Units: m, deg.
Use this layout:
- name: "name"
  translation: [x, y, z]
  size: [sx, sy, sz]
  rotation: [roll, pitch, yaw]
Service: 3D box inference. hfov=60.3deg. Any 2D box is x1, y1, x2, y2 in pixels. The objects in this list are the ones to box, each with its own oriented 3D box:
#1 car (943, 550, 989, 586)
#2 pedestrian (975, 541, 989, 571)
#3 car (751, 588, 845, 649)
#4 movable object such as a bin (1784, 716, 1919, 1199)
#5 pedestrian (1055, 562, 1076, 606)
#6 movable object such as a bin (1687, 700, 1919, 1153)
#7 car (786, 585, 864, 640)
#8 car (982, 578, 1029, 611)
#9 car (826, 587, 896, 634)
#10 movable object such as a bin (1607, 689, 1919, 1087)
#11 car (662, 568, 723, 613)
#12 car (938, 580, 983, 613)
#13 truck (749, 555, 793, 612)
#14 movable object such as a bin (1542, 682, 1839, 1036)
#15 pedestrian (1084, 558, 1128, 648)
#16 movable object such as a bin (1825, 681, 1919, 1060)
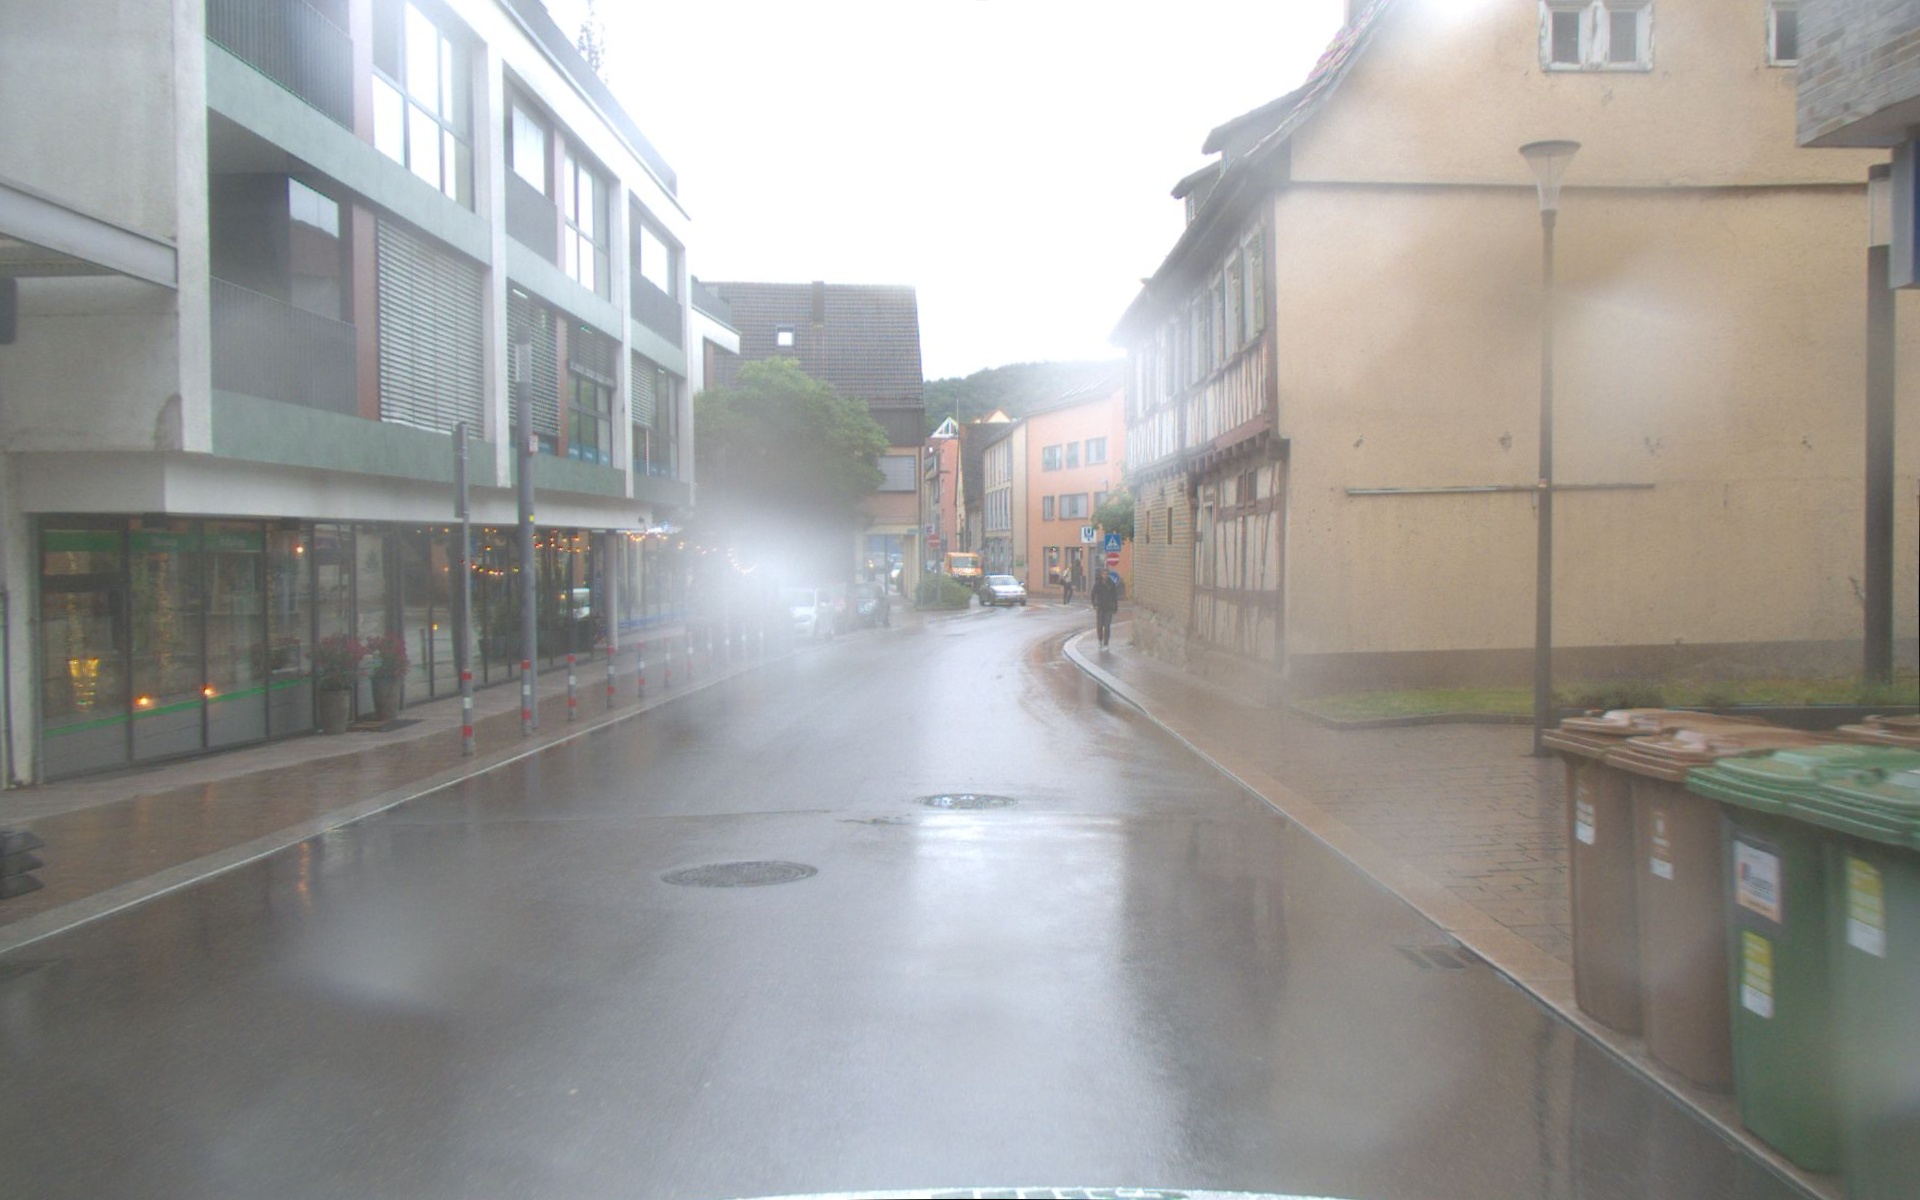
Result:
- name: "car"
  translation: [0.347, -2.004, 104.715]
  size: [2.065, 2.183, 4.857]
  rotation: [-3, 1, -9]
- name: "pedestrian"
  translation: [1.537, -3.098, 116.508]
  size: [0.850, 2.048, 0.706]
  rotation: [-1, 1, -8]
- name: "car"
  translation: [-4.341, 0.458, 44.870]
  size: [1.749, 1.525, 4.457]
  rotation: [-1, 0, 4]
- name: "movable object such as a bin"
  translation: [2.504, 0.857, 3.957]
  size: [0.750, 1.114, 0.581]
  rotation: [-2, 0, 0]
- name: "pedestrian"
  translation: [4.743, -0.716, 74.398]
  size: [0.843, 1.948, 0.759]
  rotation: [0, 1, 13]
- name: "movable object such as a bin"
  translation: [2.529, 0.863, 4.578]
  size: [0.750, 1.114, 0.581]
  rotation: [-2, 0, 0]
- name: "car"
  translation: [-4.096, 0.348, 50.767]
  size: [1.749, 1.603, 4.109]
  rotation: [-1, 0, 4]
- name: "car"
  translation: [2.141, -0.283, 78.510]
  size: [1.755, 1.442, 4.025]
  rotation: [-3, 1, -4]
- name: "car"
  translation: [-3.287, 0.326, 55.744]
  size: [1.678, 1.483, 3.913]
  rotation: [1, 1, 7]
- name: "movable object such as a bin"
  translation: [2.526, 0.865, 5.171]
  size: [0.750, 1.114, 0.581]
  rotation: [-2, 0, 0]
- name: "car"
  translation: [-11.282, -0.442, 69.965]
  size: [1.774, 1.645, 4.003]
  rotation: [-1, 4, 1]
- name: "car"
  translation: [0.005, -0.192, 78.658]
  size: [1.682, 1.483, 3.904]
  rotation: [0, 1, -7]
- name: "truck"
  translation: [-8.083, -0.725, 70.917]
  size: [1.565, 2.097, 3.193]
  rotation: [-2, 5, -3]
- name: "movable object such as a bin"
  translation: [2.524, 0.873, 5.771]
  size: [0.750, 1.114, 0.581]
  rotation: [-2, 0, 0]
- name: "pedestrian"
  translation: [3.197, 0.068, 36.316]
  size: [0.794, 1.918, 0.907]
  rotation: [-2, 1, -2]
- name: "movable object such as a bin"
  translation: [3.283, 0.830, 5.223]
  size: [0.750, 1.114, 0.627]
  rotation: [-2, 0, 0]
